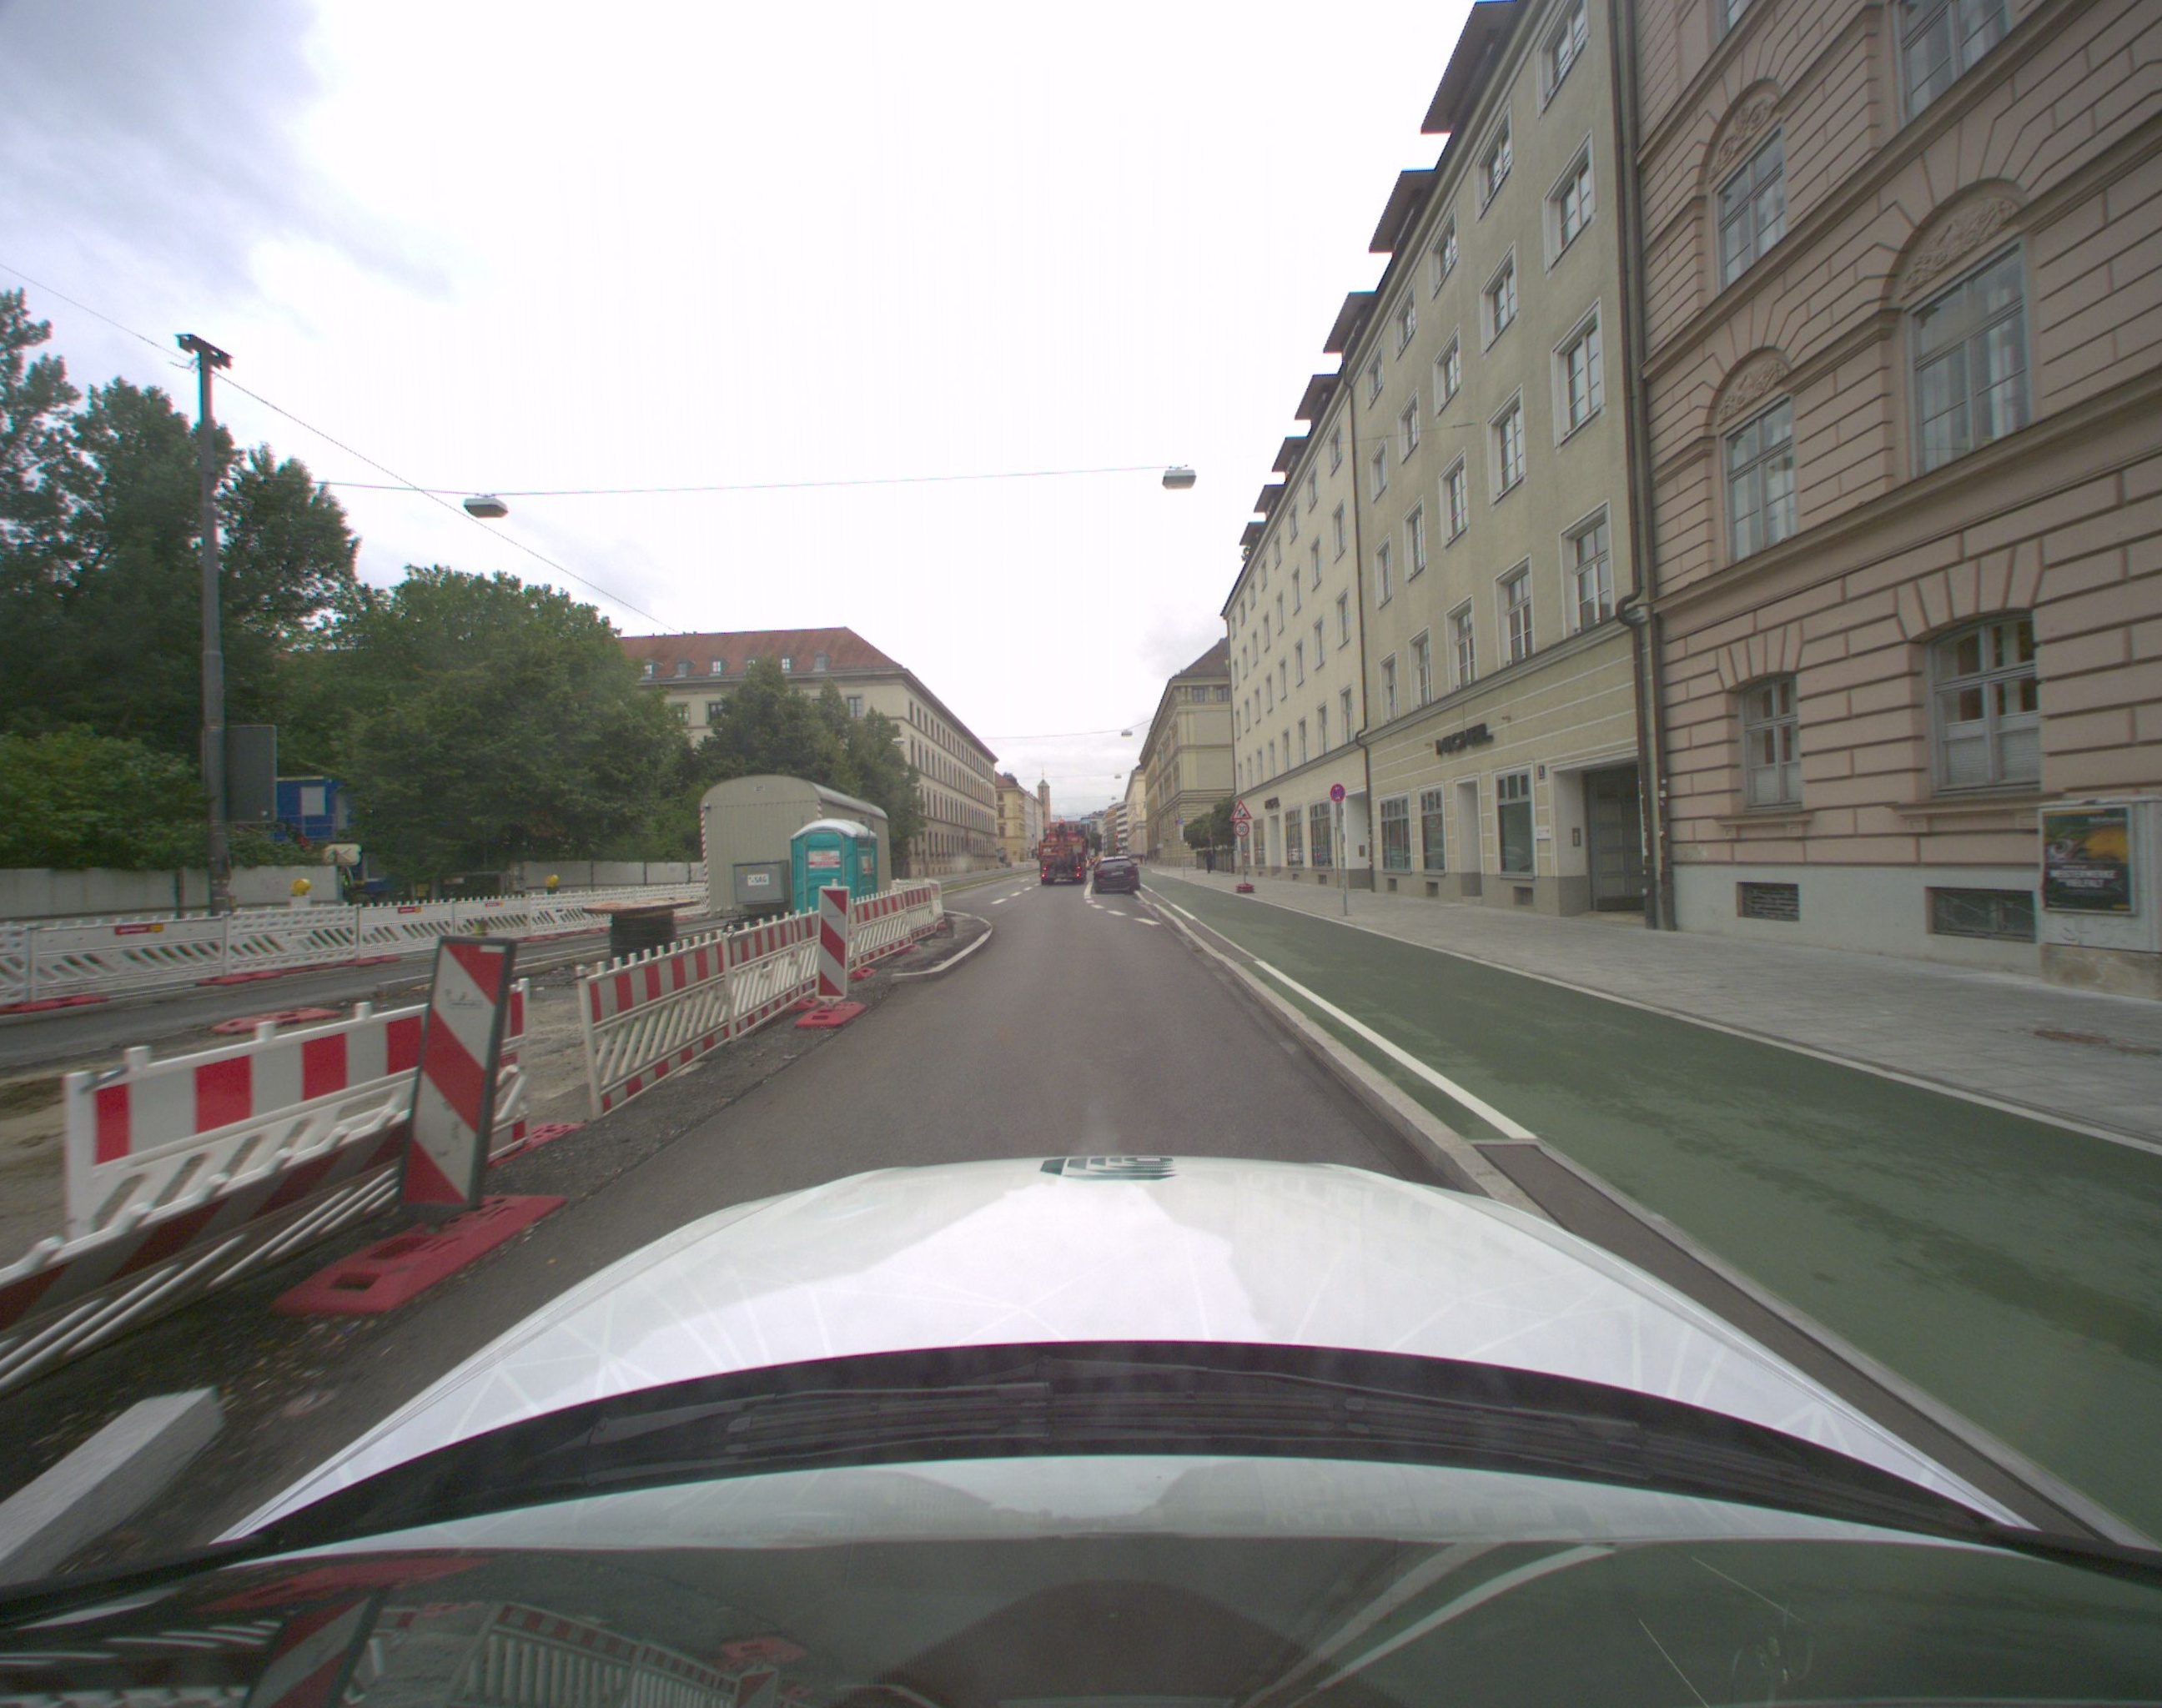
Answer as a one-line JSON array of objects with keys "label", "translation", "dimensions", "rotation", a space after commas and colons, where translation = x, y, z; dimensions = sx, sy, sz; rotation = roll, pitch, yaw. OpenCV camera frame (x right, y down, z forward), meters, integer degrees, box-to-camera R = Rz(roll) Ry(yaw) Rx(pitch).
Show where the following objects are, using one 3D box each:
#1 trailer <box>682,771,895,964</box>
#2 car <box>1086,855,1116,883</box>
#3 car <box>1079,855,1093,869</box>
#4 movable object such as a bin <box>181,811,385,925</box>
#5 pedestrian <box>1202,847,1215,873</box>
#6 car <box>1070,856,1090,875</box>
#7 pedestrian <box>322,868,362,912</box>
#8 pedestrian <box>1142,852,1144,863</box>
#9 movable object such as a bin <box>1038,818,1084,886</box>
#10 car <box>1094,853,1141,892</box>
[{"label": "trailer", "translation": [-5.873, 0.238, 17.766], "dimensions": [2.222, 3.243, 7.509], "rotation": [-2, 0, -3]}, {"label": "car", "translation": [1.170, 0.836, 46.980], "dimensions": [1.604, 1.495, 3.425], "rotation": [-2, 0, 1]}, {"label": "car", "translation": [0.590, 0.937, 93.590], "dimensions": [1.604, 1.495, 3.425], "rotation": [-2, 0, 1]}, {"label": "movable object such as a bin", "translation": [-27.949, 0.456, 28.855], "dimensions": [1.987, 3.629, 5.180], "rotation": [-1, 0, 1]}, {"label": "pedestrian", "translation": [9.065, 0.421, 58.021], "dimensions": [0.787, 1.836, 0.777], "rotation": [-2, 0, 2]}, {"label": "car", "translation": [-0.040, 0.977, 71.236], "dimensions": [1.604, 1.495, 3.425], "rotation": [-2, 0, 1]}, {"label": "pedestrian", "translation": [-26.515, 1.272, 29.222], "dimensions": [0.678, 1.535, 0.786], "rotation": [-1, 0, 0]}, {"label": "pedestrian", "translation": [9.862, 0.600, 129.688], "dimensions": [0.336, 1.672, 0.440], "rotation": [-2, 0, 2]}, {"label": "movable object such as a bin", "translation": [-1.066, -0.099, 46.926], "dimensions": [2.415, 3.611, 5.851], "rotation": [-2, 0, 0]}, {"label": "car", "translation": [1.491, 0.759, 35.006], "dimensions": [1.796, 1.480, 4.686], "rotation": [-3, 0, 0]}]
